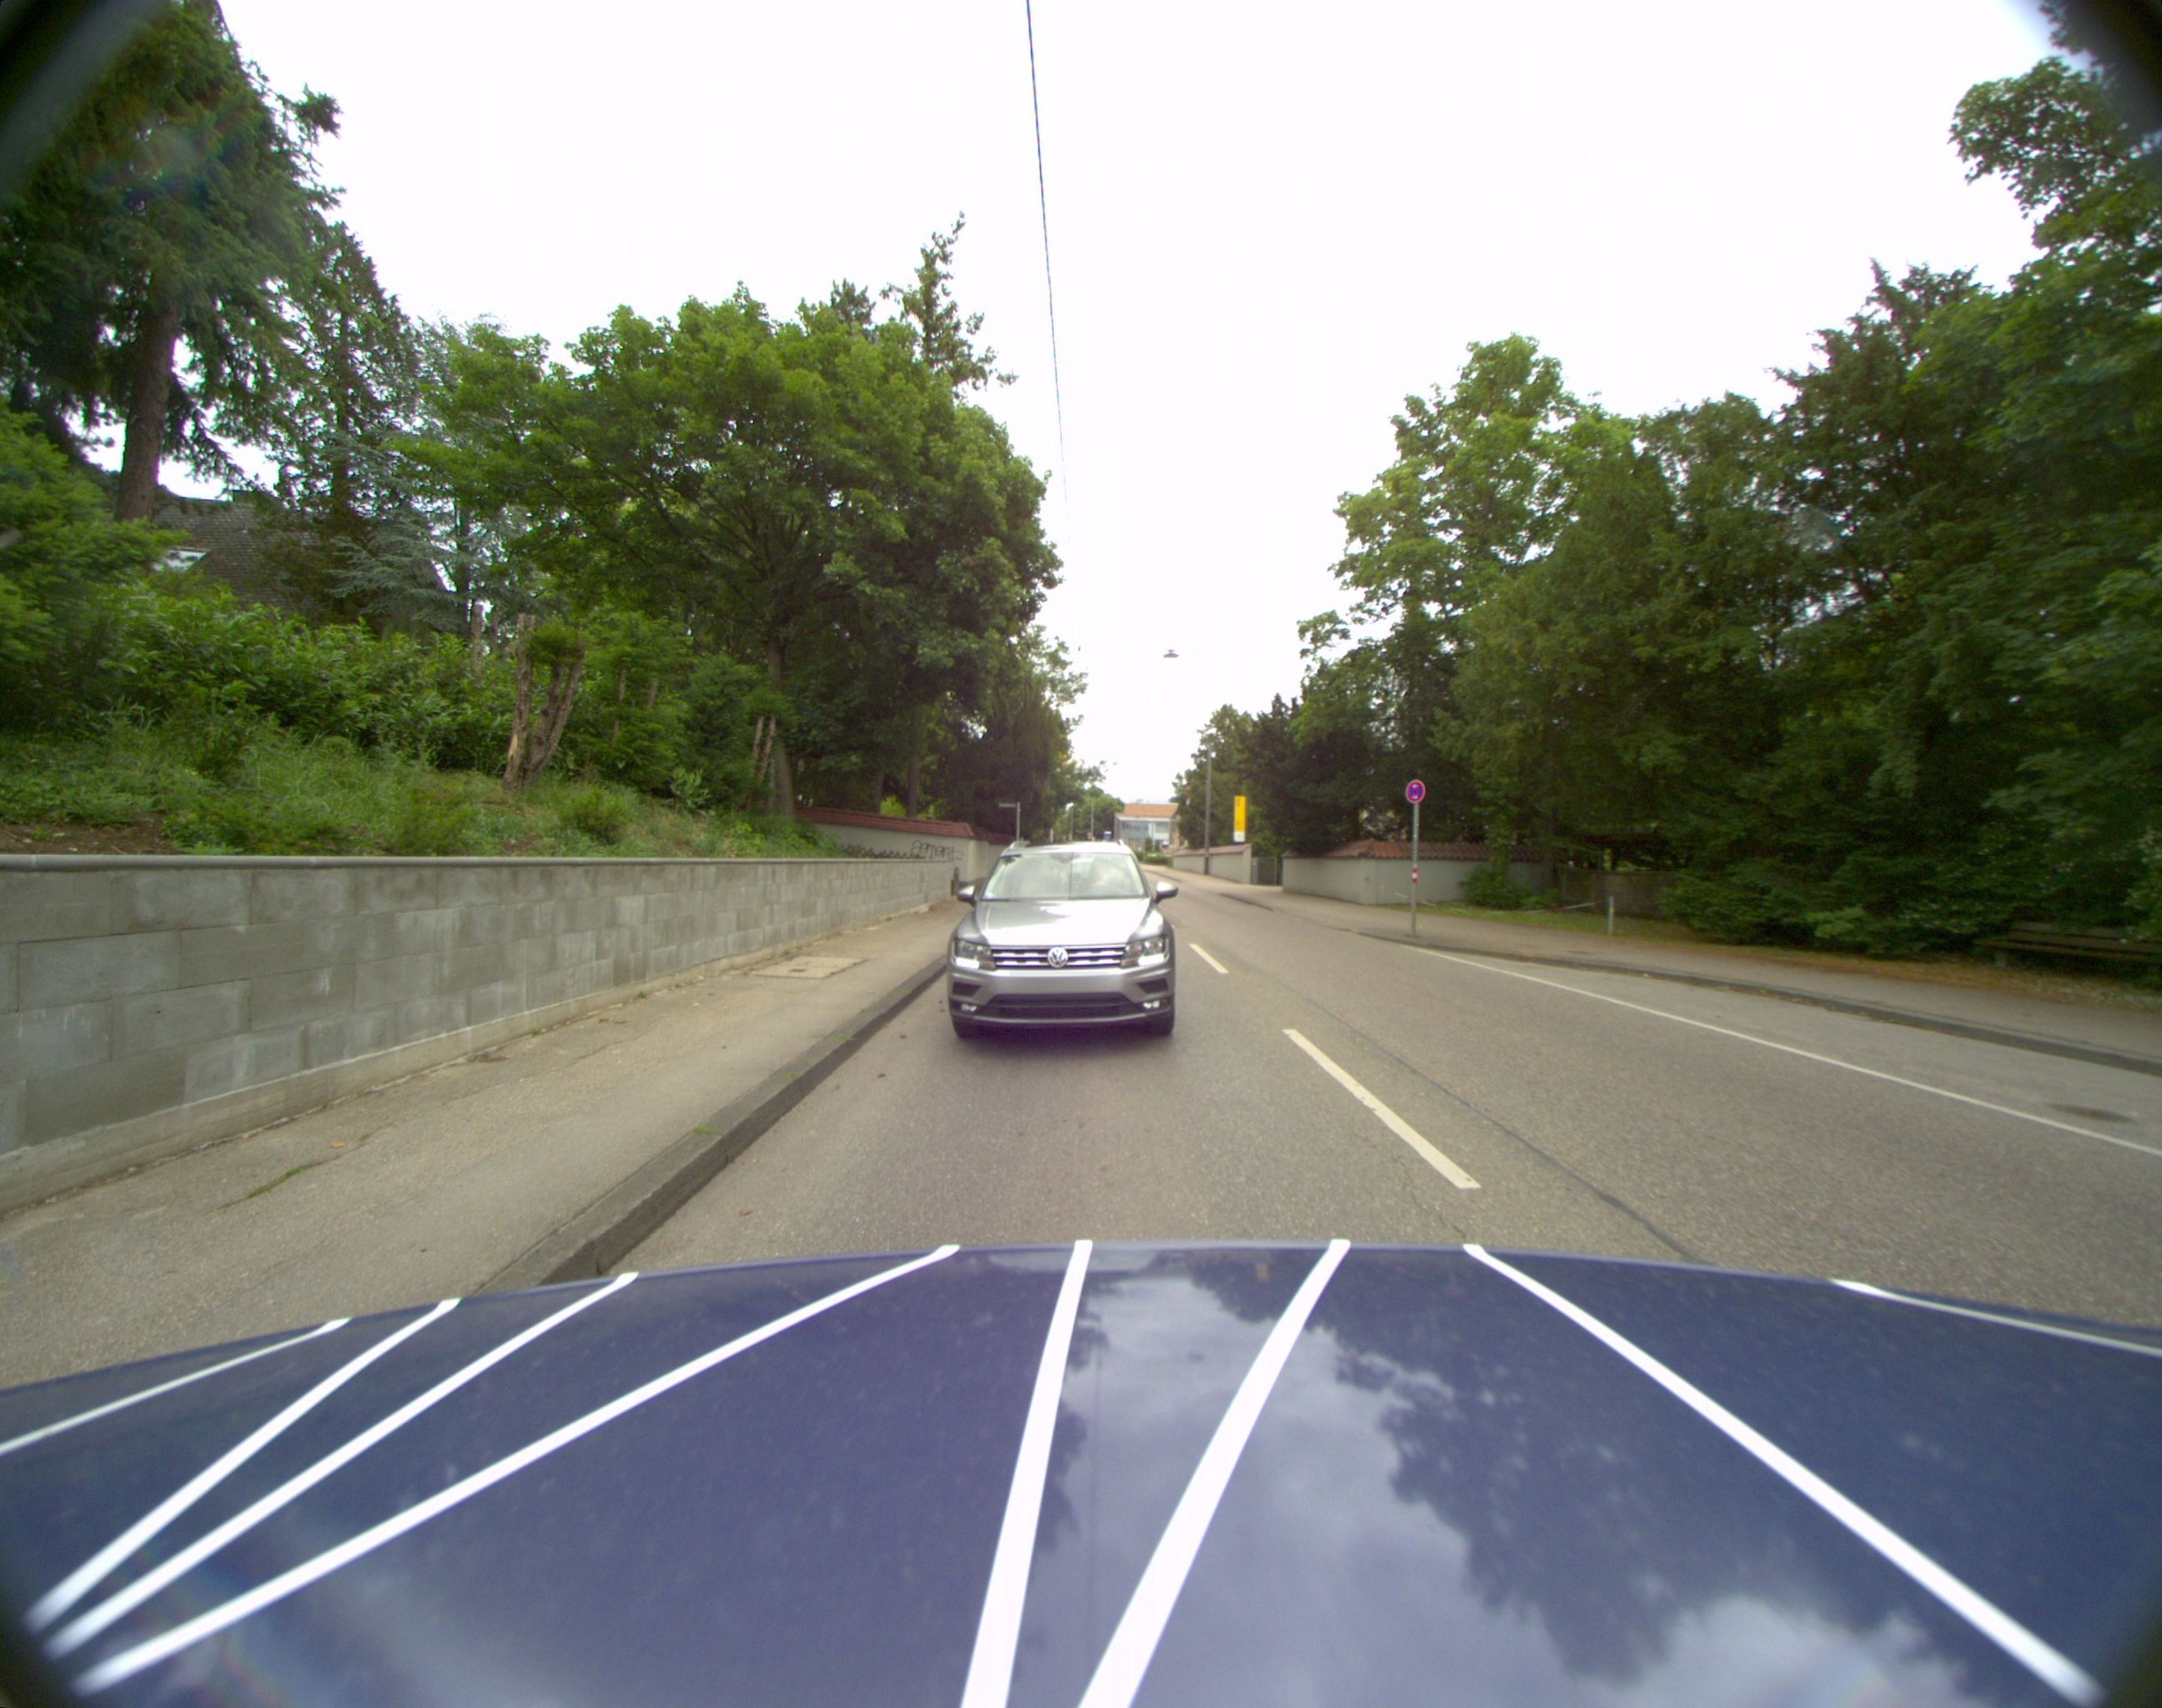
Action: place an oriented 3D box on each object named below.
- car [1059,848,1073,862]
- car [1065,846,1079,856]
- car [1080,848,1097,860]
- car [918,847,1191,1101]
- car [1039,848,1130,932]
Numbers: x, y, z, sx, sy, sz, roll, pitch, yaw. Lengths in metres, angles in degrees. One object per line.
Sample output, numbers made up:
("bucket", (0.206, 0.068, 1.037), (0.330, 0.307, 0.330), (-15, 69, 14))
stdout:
("car", (-1.929, 0.160, 98.616), (1.820, 1.733, 4.487), (0, 1, 0))
("car", (-1.543, -0.562, 125.329), (1.878, 1.647, 4.252), (0, 1, -8))
("car", (1.043, -0.057, 105.449), (1.878, 1.647, 4.253), (0, 1, -5))
("car", (-0.168, 0.805, 7.535), (1.820, 1.690, 4.718), (-1, 0, 0))
("car", (0.076, 0.708, 17.428), (1.820, 1.647, 4.487), (0, 1, 0))
